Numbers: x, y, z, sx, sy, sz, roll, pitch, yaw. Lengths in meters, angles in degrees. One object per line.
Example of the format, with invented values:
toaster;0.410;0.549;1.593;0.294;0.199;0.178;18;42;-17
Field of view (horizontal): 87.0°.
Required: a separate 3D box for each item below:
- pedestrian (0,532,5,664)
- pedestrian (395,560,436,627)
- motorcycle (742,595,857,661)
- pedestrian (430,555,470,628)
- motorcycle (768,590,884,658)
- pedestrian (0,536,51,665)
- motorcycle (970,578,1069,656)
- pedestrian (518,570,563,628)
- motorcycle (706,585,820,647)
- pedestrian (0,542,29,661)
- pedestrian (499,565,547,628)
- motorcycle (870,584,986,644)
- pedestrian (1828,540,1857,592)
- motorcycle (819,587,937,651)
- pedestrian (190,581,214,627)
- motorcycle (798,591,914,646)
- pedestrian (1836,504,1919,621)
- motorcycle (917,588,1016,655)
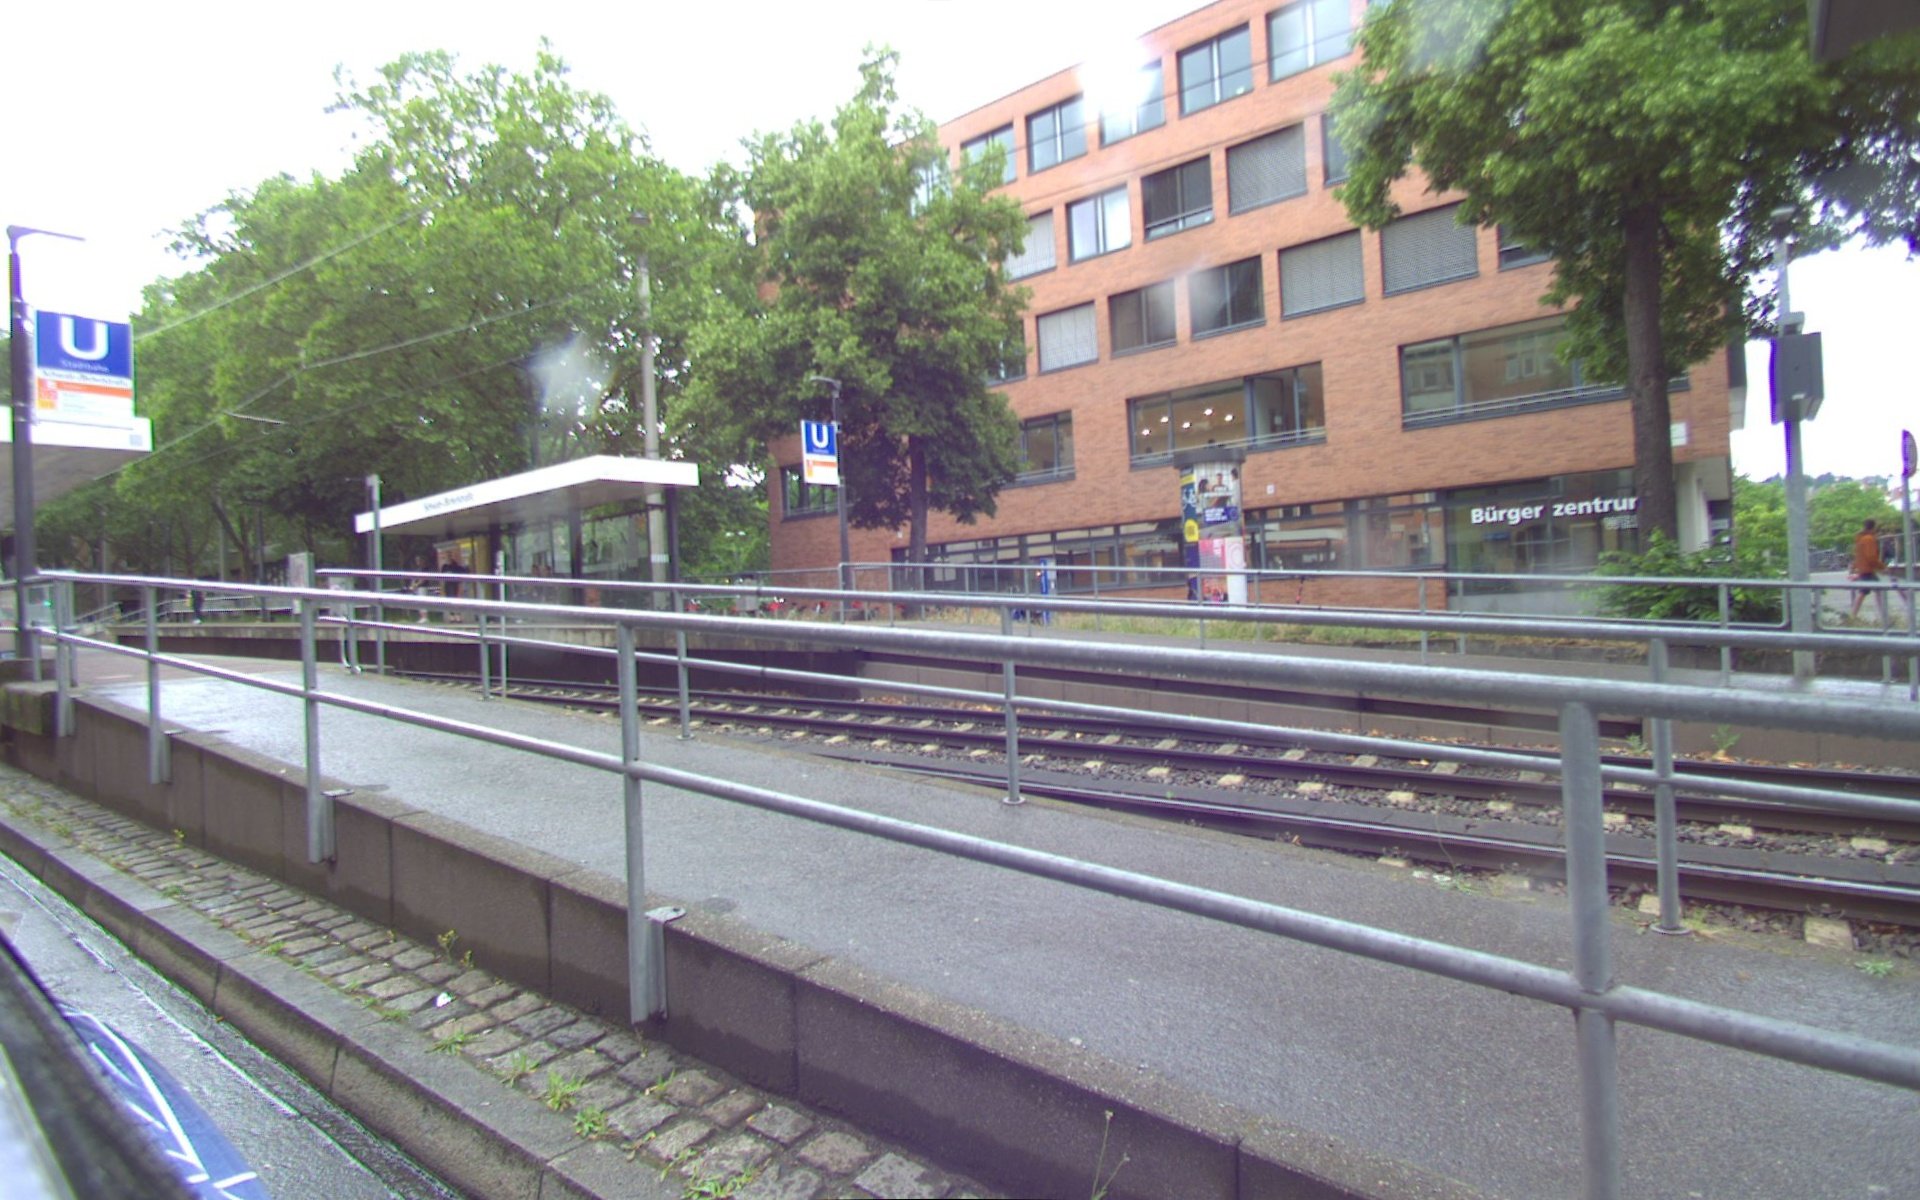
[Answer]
pedestrian;-12.767;-0.018;13.035;0.587;1.701;0.607;-2;0;42
pedestrian;-13.663;-0.165;25.391;0.563;1.653;0.680;-2;0;36
motorcycle;-4.824;0.805;30.923;1.004;1.829;3.829;-1;1;36
pedestrian;-12.402;-0.204;24.609;0.704;1.728;0.557;-2;0;36
motorcycle;-3.927;0.666;30.212;1.004;1.829;3.829;-1;1;36
pedestrian;-11.936;0.005;12.768;0.507;1.593;0.607;-2;0;41
motorcycle;1.552;0.385;25.532;0.991;1.829;3.009;-1;1;36
pedestrian;-9.362;-0.034;22.570;0.563;1.249;0.697;-2;0;36
motorcycle;-6.124;0.469;31.819;1.004;1.787;3.829;-1;1;36
pedestrian;-13.062;0.028;13.701;0.507;1.593;0.607;-2;0;41
pedestrian;-9.870;-0.084;22.879;0.563;1.373;0.770;-2;0;36
motorcycle;-0.815;0.345;27.789;1.004;1.499;3.829;-1;1;36
pedestrian;34.693;-1.324;39.790;0.715;2.029;0.712;-2;-1;33
motorcycle;-2.236;0.493;28.440;1.004;1.617;3.829;-1;1;36
pedestrian;-27.711;0.154;36.999;0.689;1.653;0.556;-2;0;45
motorcycle;-2.954;0.494;29.469;1.004;1.417;3.829;-1;1;36
pedestrian;16.532;-0.655;18.216;0.977;2.029;0.727;-1;0;30
motorcycle;0.225;0.538;26.841;1.004;1.640;3.031;-1;1;36
